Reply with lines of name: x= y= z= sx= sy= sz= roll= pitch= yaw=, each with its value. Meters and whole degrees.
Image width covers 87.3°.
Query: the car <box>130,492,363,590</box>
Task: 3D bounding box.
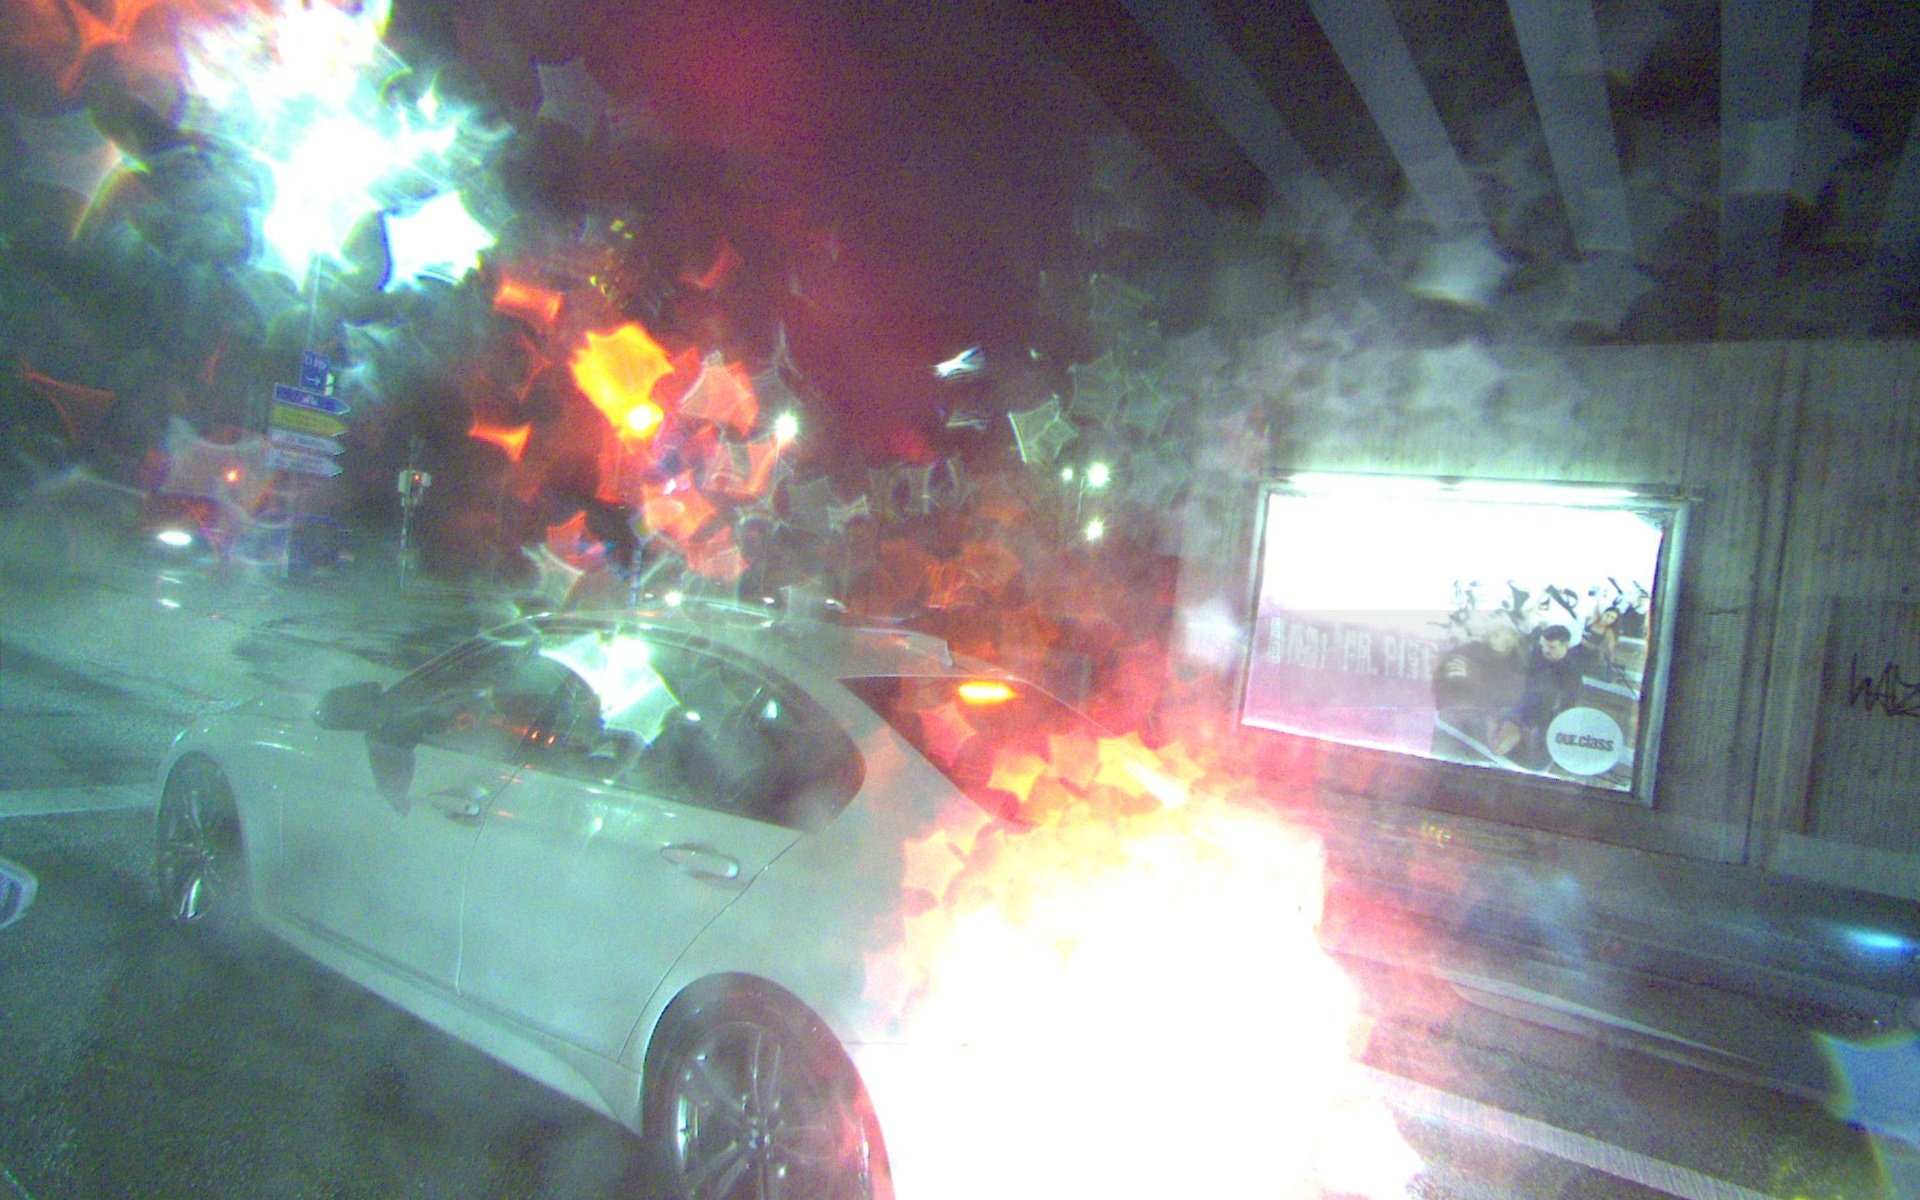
car: x=-18.501 y=-1.478 z=26.323 sx=1.829 sy=1.769 sz=4.499 roll=6 pitch=-2 yaw=33

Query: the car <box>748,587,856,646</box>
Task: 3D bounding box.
car: x=-7.485 y=0.819 z=48.134 sx=2.109 sy=2.169 sz=4.917 roll=6 pitch=-2 yaw=36

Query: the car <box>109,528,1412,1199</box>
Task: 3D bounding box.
car: x=-0.938 y=0.710 z=3.482 sx=4.277 sy=1.420 sz=1.720 roll=6 pitch=-2 yaw=32

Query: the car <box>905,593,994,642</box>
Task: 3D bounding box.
car: x=-0.473 y=0.963 z=52.994 sx=1.968 sy=2.008 sz=5.096 roll=7 pitch=-1 yaw=34

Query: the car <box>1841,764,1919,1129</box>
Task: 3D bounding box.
car: x=5.876 y=1.655 z=2.974 sx=4.485 sy=1.406 sz=1.757 roll=8 pitch=-1 yaw=26

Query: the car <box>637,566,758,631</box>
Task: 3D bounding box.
car: x=-10.090 y=-0.027 z=38.937 sx=1.886 sy=1.600 sz=4.079 roll=2 pitch=-11 yaw=39

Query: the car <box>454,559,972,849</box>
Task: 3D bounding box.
car: x=-1.913 y=0.657 z=7.557 sx=3.534 sy=1.476 sz=1.637 roll=6 pitch=-2 yaw=32
